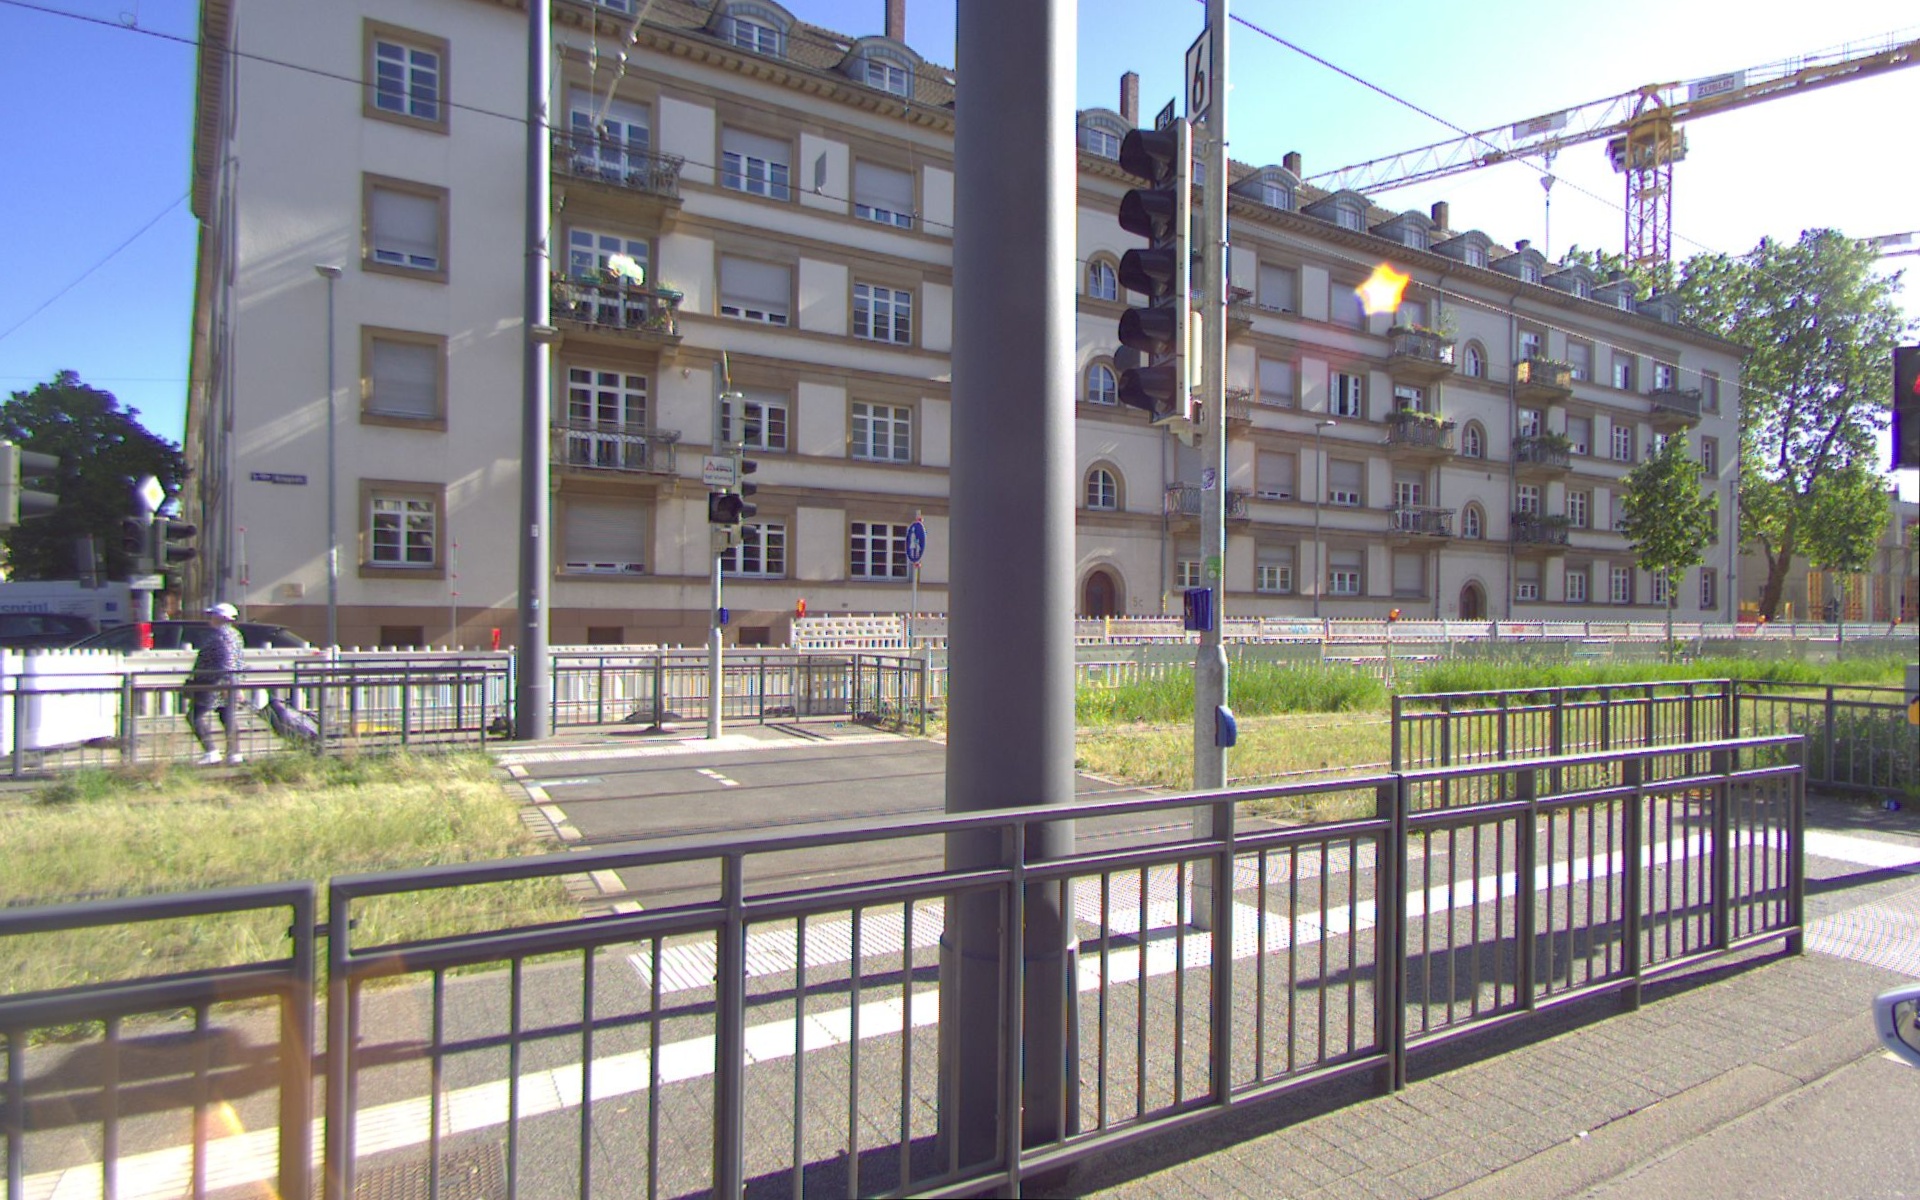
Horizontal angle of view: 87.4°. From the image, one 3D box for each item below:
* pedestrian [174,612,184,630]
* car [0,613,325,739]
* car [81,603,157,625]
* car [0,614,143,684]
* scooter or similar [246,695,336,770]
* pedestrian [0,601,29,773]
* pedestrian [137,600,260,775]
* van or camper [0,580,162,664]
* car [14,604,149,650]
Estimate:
[{"bbox_3d":[-75.819,2.025,97.507,0.682,1.778,0.808,1,-1,-36],"label":"pedestrian"},{"bbox_3d":[-11.095,0.966,13.734,3.953,1.536,1.808,1,-1,-30],"label":"car"},{"bbox_3d":[-58.068,1.013,69.425,1.730,1.480,3.854,-1,-1,43],"label":"car"},{"bbox_3d":[-21.054,1.092,22.969,3.642,1.542,1.672,1,-1,-39],"label":"car"},{"bbox_3d":[-6.696,1.311,10.075,0.701,0.660,0.512,1,0,-30],"label":"scooter or similar"},{"bbox_3d":[-9.111,0.782,8.993,0.855,1.557,0.904,1,0,-23],"label":"pedestrian"},{"bbox_3d":[-7.185,0.787,9.524,0.805,1.557,0.791,1,0,-30],"label":"pedestrian"},{"bbox_3d":[-27.871,0.662,30.262,5.911,2.432,1.976,1,-1,-42],"label":"van or camper"},{"bbox_3d":[-35.537,1.091,40.772,3.963,1.799,1.724,1,-1,-37],"label":"car"}]
